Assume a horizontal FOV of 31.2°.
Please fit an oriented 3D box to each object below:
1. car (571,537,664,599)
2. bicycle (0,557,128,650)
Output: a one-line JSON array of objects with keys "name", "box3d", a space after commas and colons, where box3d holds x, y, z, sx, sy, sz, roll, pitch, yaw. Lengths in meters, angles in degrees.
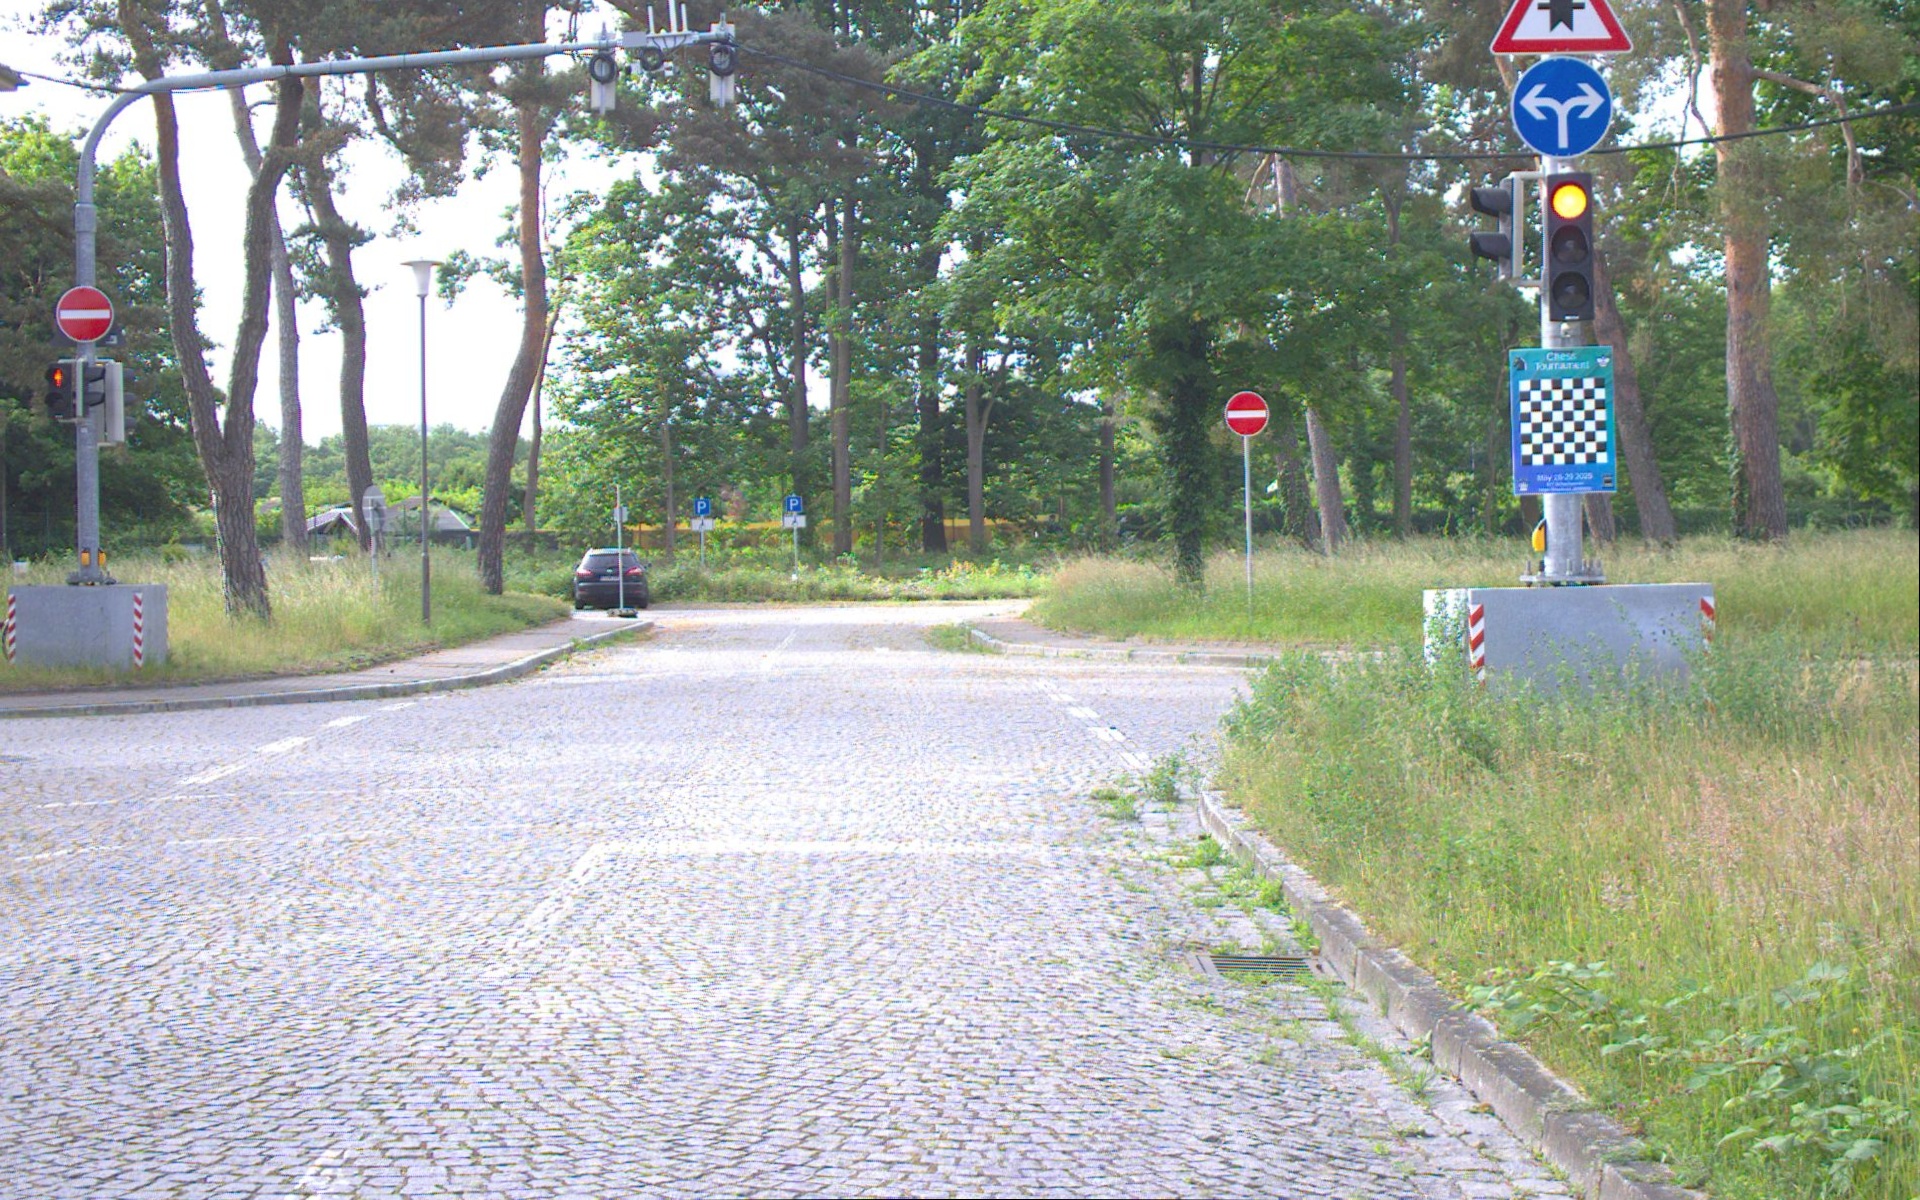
[{"name": "car", "box3d": [-8.722, -0.833, 87.698, 1.993, 1.503, 4.000, 1, 1, -1]}, {"name": "bicycle", "box3d": [-9.924, 0.040, 37.786, 1.459, 0.993, 0.452, -1, 1, -8]}]
